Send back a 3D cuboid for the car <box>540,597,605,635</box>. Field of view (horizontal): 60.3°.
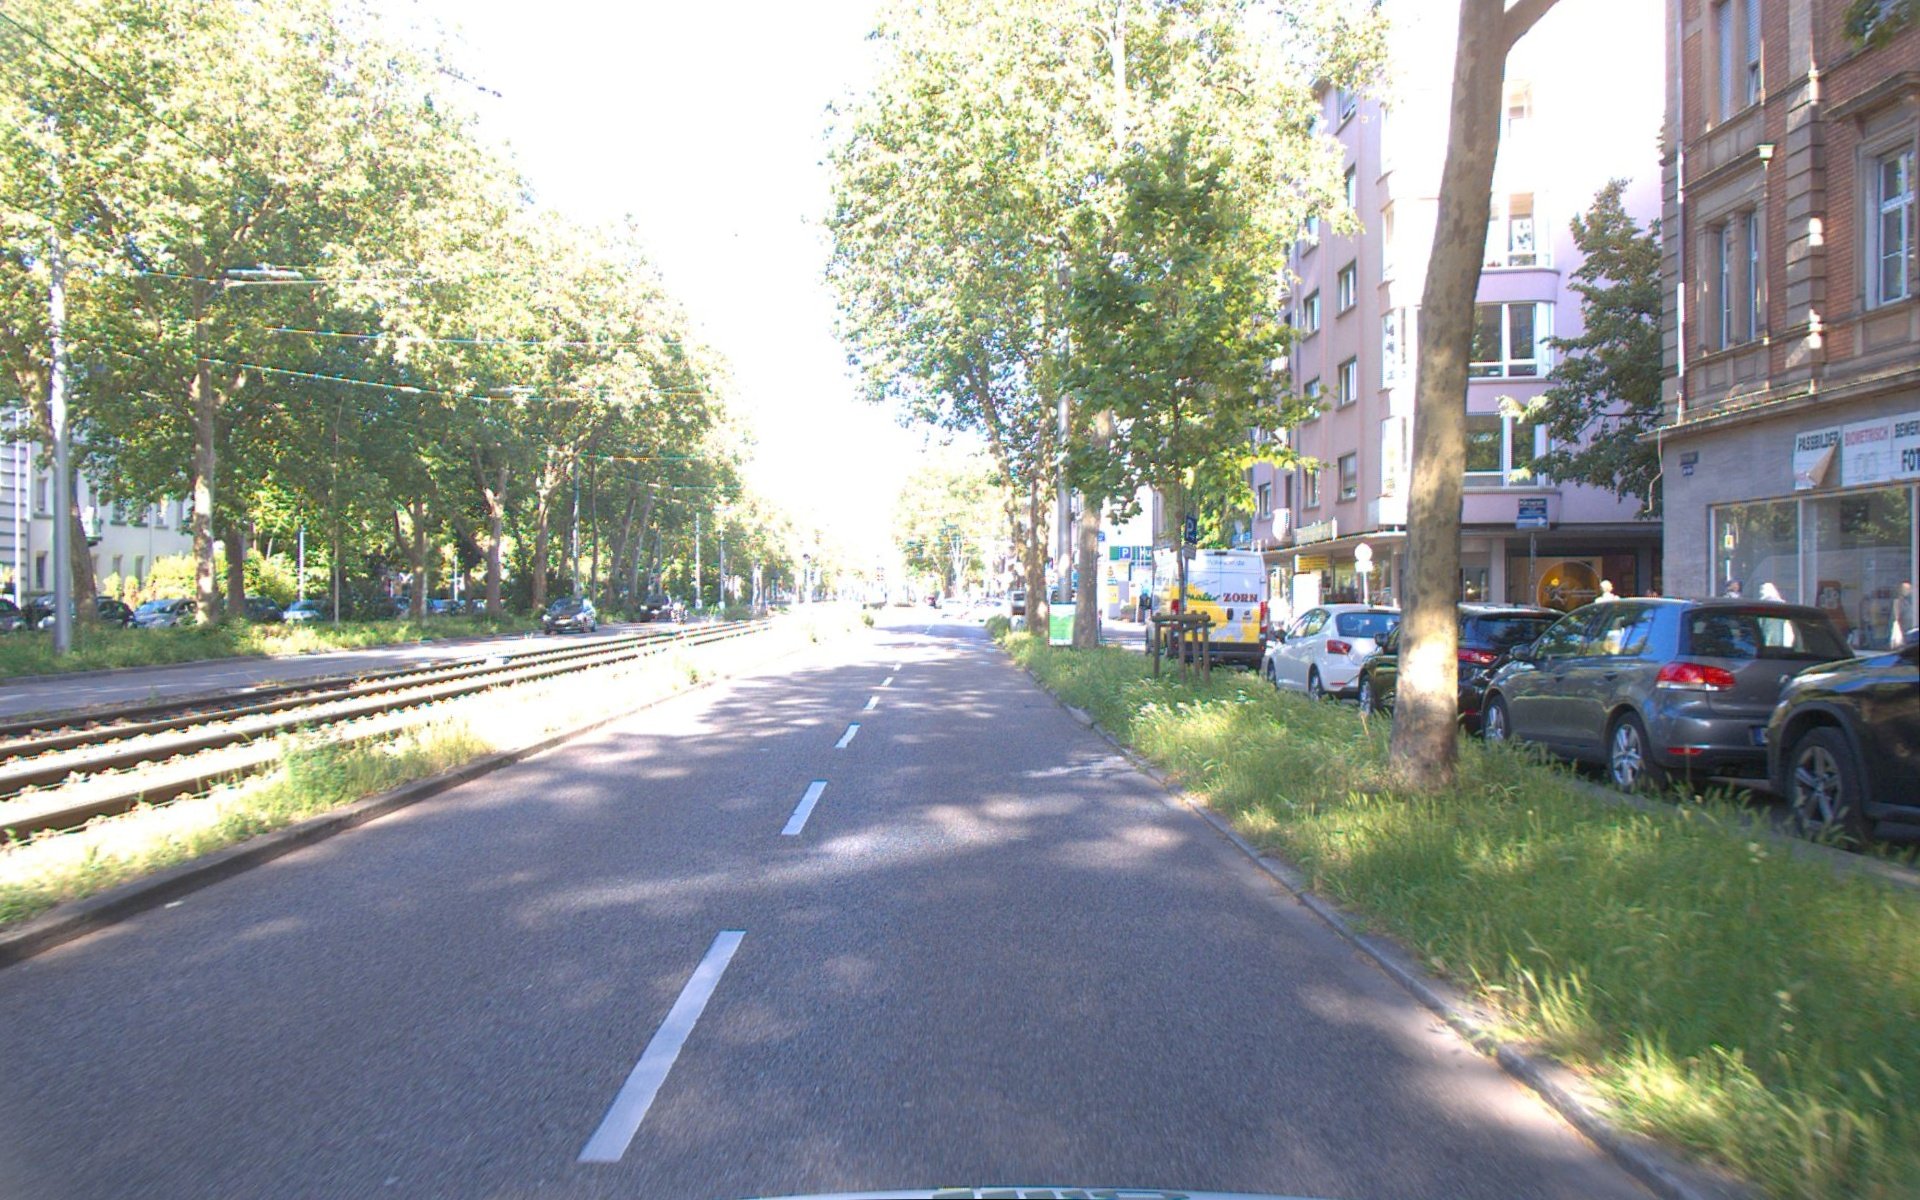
[{"bbox_3d":[-16.893,0.688,72.223,1.759,1.534,4.338,-3,0,0],"label":"car"}]

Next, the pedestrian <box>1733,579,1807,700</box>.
[{"bbox_3d":[11.589,0.559,23.684,0.677,1.714,0.752,0,-1,-1],"label":"pedestrian"}]

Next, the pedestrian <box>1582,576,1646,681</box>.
[{"bbox_3d":[11.387,0.486,28.808,0.677,1.786,1.079,0,0,-1],"label":"pedestrian"}]

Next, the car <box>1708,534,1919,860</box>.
[{"bbox_3d":[5.880,0.538,8.305,1.853,1.676,4.798,3,0,-3],"label":"car"}]

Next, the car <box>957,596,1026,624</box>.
[{"bbox_3d":[1.955,0.618,104.366,3.917,1.691,2.022,0,0,34],"label":"car"}]

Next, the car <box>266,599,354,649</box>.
[{"bbox_3d":[-27.701,0.979,70.667,1.953,2.049,4.683,0,0,-1],"label":"car"}]

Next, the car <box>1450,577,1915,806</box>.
[{"bbox_3d":[5.593,0.634,13.485,1.702,1.489,4.363,3,0,-2],"label":"car"}]

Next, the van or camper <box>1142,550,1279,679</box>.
[{"bbox_3d":[5.389,0.302,36.464,2.139,2.524,6.269,2,0,1],"label":"van or camper"}]

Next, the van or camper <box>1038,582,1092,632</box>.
[{"bbox_3d":[4.361,0.294,69.523,1.802,1.997,5.125,1,0,-1],"label":"van or camper"}]

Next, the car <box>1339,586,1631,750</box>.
[{"bbox_3d":[5.607,0.668,18.232,1.718,1.522,4.183,3,0,-2],"label":"car"}]

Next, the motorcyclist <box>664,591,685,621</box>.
[{"bbox_3d":[-14.784,0.292,85.760,0.925,1.540,0.958,0,0,-1],"label":"motorcyclist"}]

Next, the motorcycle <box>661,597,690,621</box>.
[{"bbox_3d":[-14.780,0.442,85.920,0.944,1.233,3.351,0,0,-1],"label":"motorcycle"}]

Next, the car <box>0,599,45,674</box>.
[{"bbox_3d":[-27.120,1.000,45.260,1.953,2.049,4.092,0,0,-1],"label":"car"}]

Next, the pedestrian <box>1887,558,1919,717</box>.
[{"bbox_3d":[11.293,0.426,19.049,0.677,1.819,0.958,0,-1,-1],"label":"pedestrian"}]

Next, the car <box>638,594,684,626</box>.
[{"bbox_3d":[-18.720,0.615,103.873,1.953,1.903,4.872,-2,0,0],"label":"car"}]

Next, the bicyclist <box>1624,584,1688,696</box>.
[{"bbox_3d":[10.373,0.593,24.666,0.645,1.643,0.698,0,-1,-1],"label":"bicyclist"}]

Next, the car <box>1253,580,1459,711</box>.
[{"bbox_3d":[5.420,0.587,23.170,1.718,1.599,4.183,3,0,-2],"label":"car"}]

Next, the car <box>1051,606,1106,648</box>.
[{"bbox_3d":[4.576,1.034,64.213,1.649,1.540,3.664,1,0,-4],"label":"car"}]

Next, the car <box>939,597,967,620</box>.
[{"bbox_3d":[-0.532,0.616,121.125,1.981,1.691,3.998,0,0,-2],"label":"car"}]

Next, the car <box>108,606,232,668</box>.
[{"bbox_3d":[-27.373,1.244,57.489,1.952,2.049,4.684,0,0,1],"label":"car"}]

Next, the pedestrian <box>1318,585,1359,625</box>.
[{"bbox_3d":[12.053,0.155,52.694,1.120,1.278,0.749,0,0,-1],"label":"pedestrian"}]
